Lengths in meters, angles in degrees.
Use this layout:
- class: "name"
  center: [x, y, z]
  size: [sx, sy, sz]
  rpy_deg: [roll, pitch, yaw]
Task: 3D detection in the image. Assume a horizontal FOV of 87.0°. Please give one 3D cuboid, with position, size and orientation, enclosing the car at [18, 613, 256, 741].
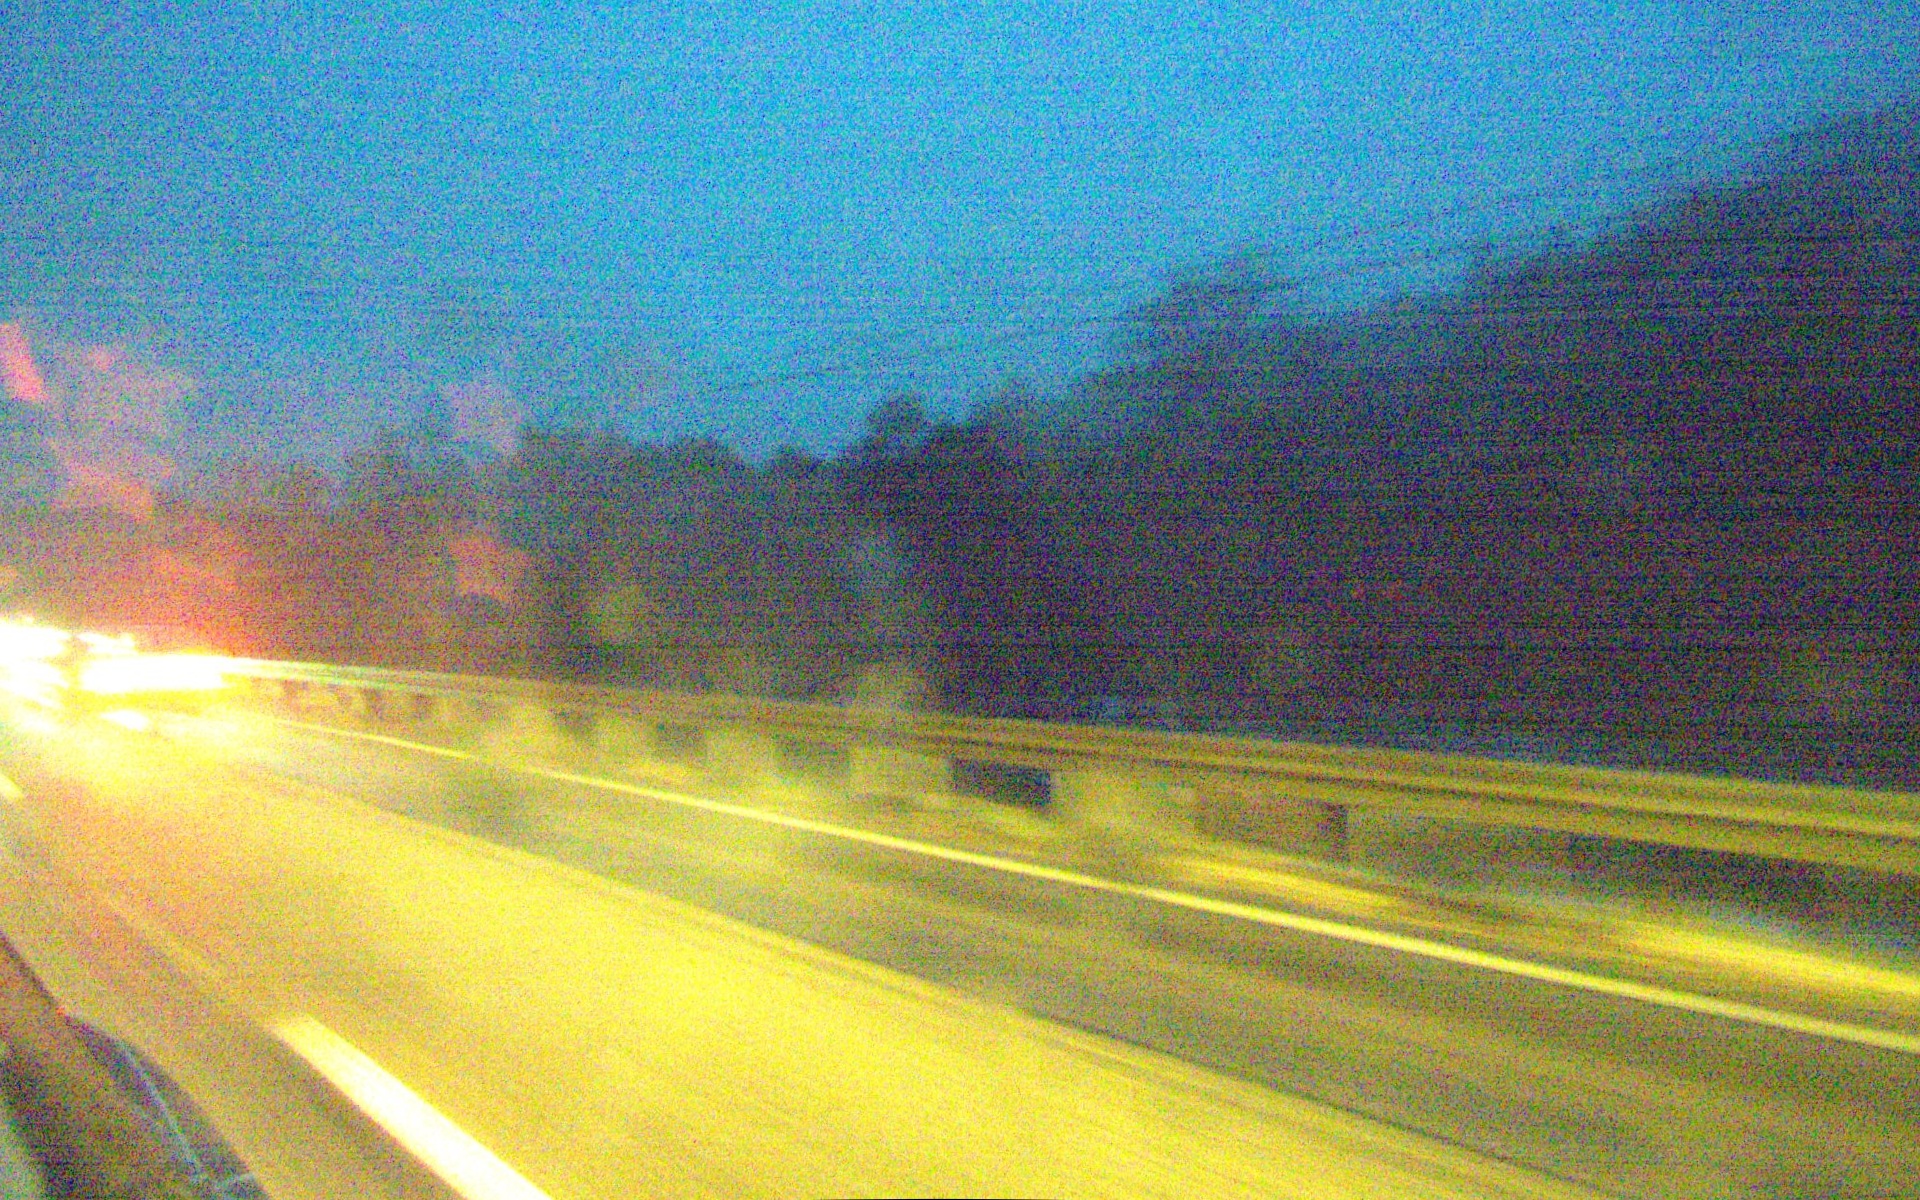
- class: "car"
  center: [-11.690, 0.960, 14.296]
  size: [3.922, 1.486, 1.973]
  rpy_deg: [-1, 0, 41]
